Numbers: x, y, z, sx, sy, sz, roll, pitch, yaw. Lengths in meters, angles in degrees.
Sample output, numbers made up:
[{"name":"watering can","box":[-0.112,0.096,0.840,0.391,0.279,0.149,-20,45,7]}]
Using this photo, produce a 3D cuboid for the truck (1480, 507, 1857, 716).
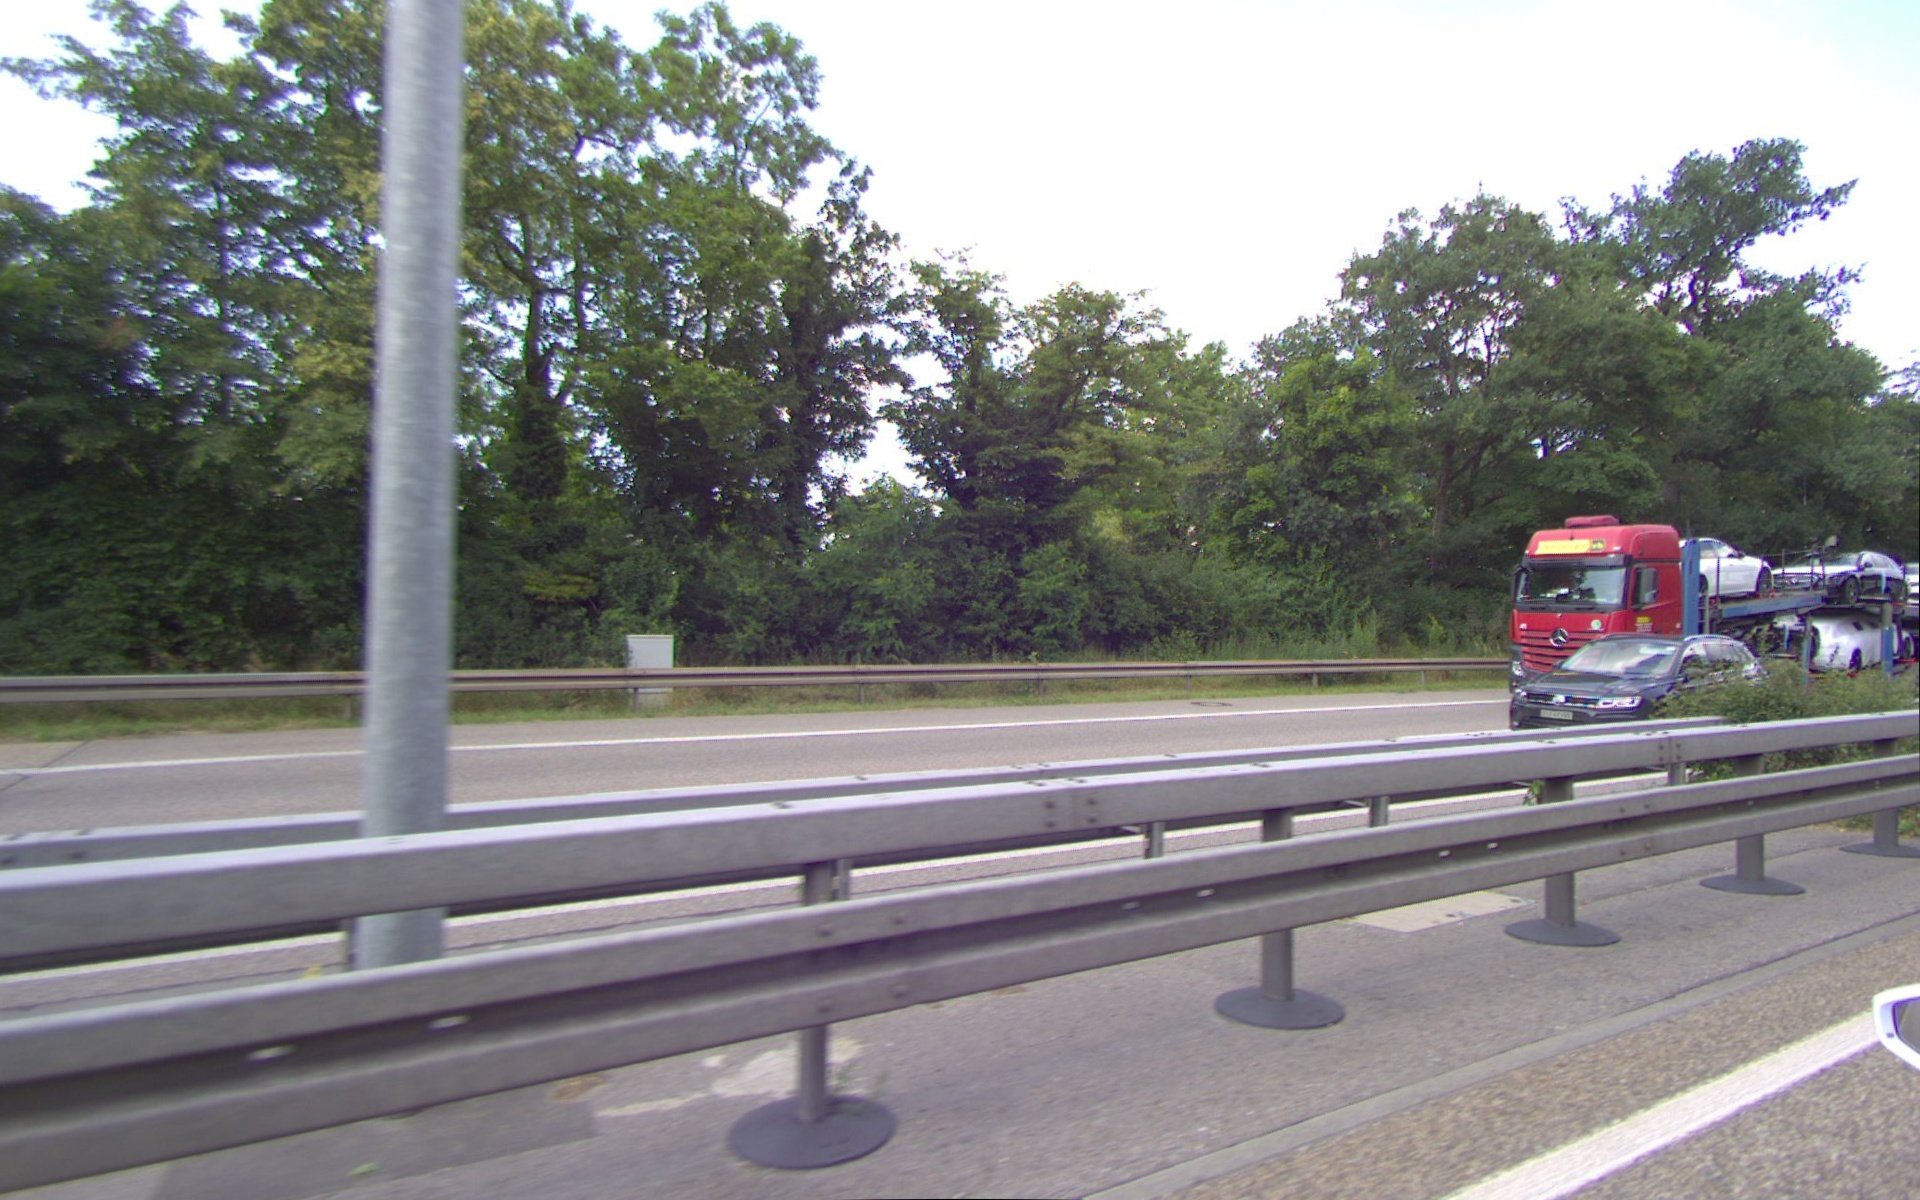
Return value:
[{"name":"truck","box":[16.225,0.355,22.677,10.201,3.906,2.941,1,-2,-30]}]

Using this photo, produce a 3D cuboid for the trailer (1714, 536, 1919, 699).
[{"name":"trailer","box":[25.010,0.558,27.785,10.190,3.883,2.924,1,-2,-31]}]

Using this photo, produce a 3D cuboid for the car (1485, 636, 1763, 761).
[{"name":"car","box":[9.638,1.315,14.506,4.213,1.571,1.666,1,-2,-30]}]
